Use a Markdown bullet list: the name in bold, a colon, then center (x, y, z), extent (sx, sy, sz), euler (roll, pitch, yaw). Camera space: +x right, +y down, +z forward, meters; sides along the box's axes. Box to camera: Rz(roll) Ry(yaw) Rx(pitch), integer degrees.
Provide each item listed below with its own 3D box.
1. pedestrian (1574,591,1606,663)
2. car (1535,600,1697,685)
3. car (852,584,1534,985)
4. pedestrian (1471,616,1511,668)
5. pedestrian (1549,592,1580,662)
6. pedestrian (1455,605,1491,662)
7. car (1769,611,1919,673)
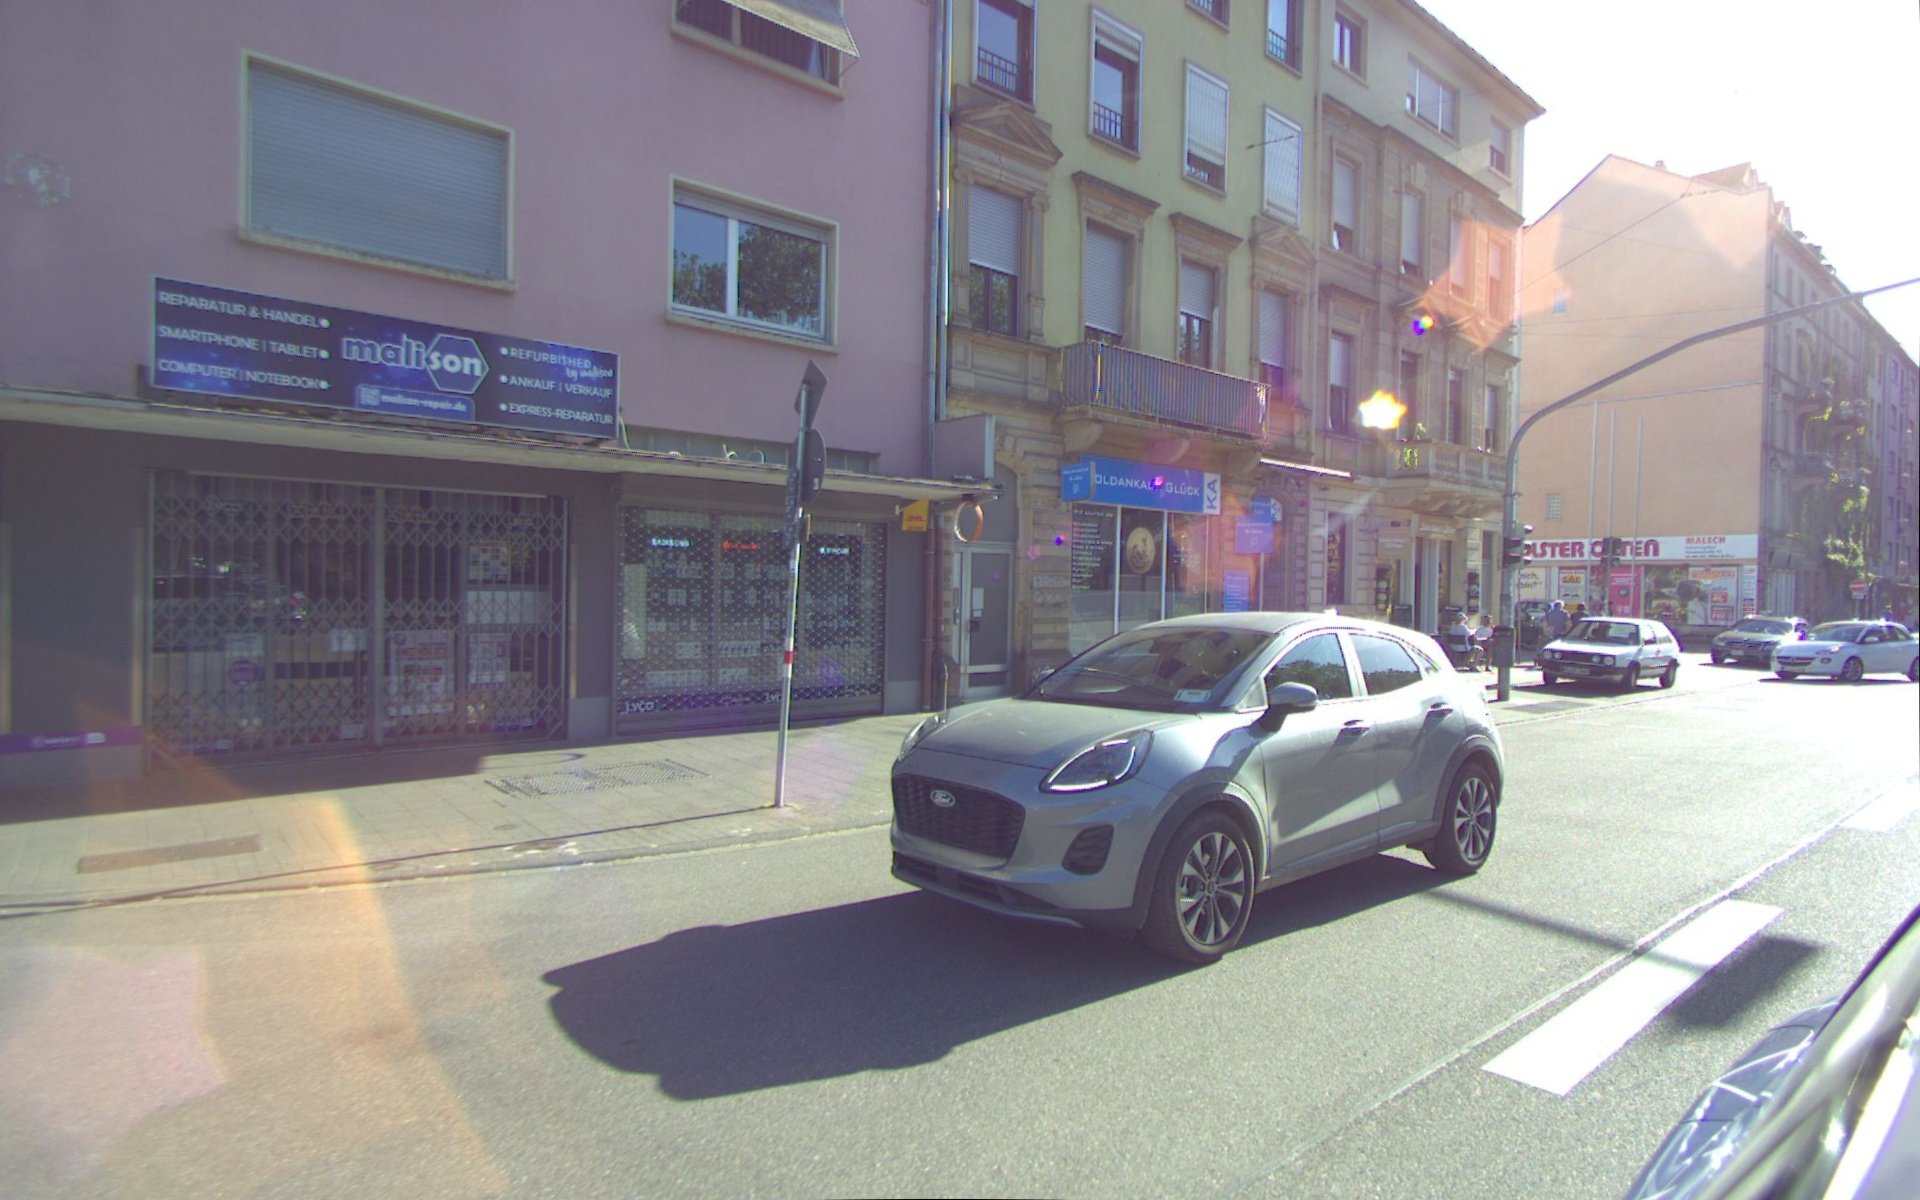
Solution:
- **pedestrian**: center (16.085, 0.678, 25.843), extent (0.648, 1.784, 0.495), euler (1, 0, -40)
- **car**: center (13.668, 0.812, 20.999), extent (3.929, 1.537, 1.738), euler (1, 2, -40)
- **car**: center (1.489, 0.720, 5.676), extent (3.899, 1.501, 1.659), euler (1, -2, -38)
- **pedestrian**: center (12.463, 0.974, 23.753), extent (0.485, 1.185, 0.661), euler (1, 0, -26)
- **pedestrian**: center (15.695, 0.695, 26.283), extent (0.648, 1.784, 0.495), euler (1, 0, -40)
- **pedestrian**: center (11.617, 0.752, 22.933), extent (0.648, 1.276, 0.495), euler (1, -1, -37)
- **car**: center (22.658, 1.016, 25.330), extent (3.916, 1.469, 1.820), euler (0, -1, -16)
